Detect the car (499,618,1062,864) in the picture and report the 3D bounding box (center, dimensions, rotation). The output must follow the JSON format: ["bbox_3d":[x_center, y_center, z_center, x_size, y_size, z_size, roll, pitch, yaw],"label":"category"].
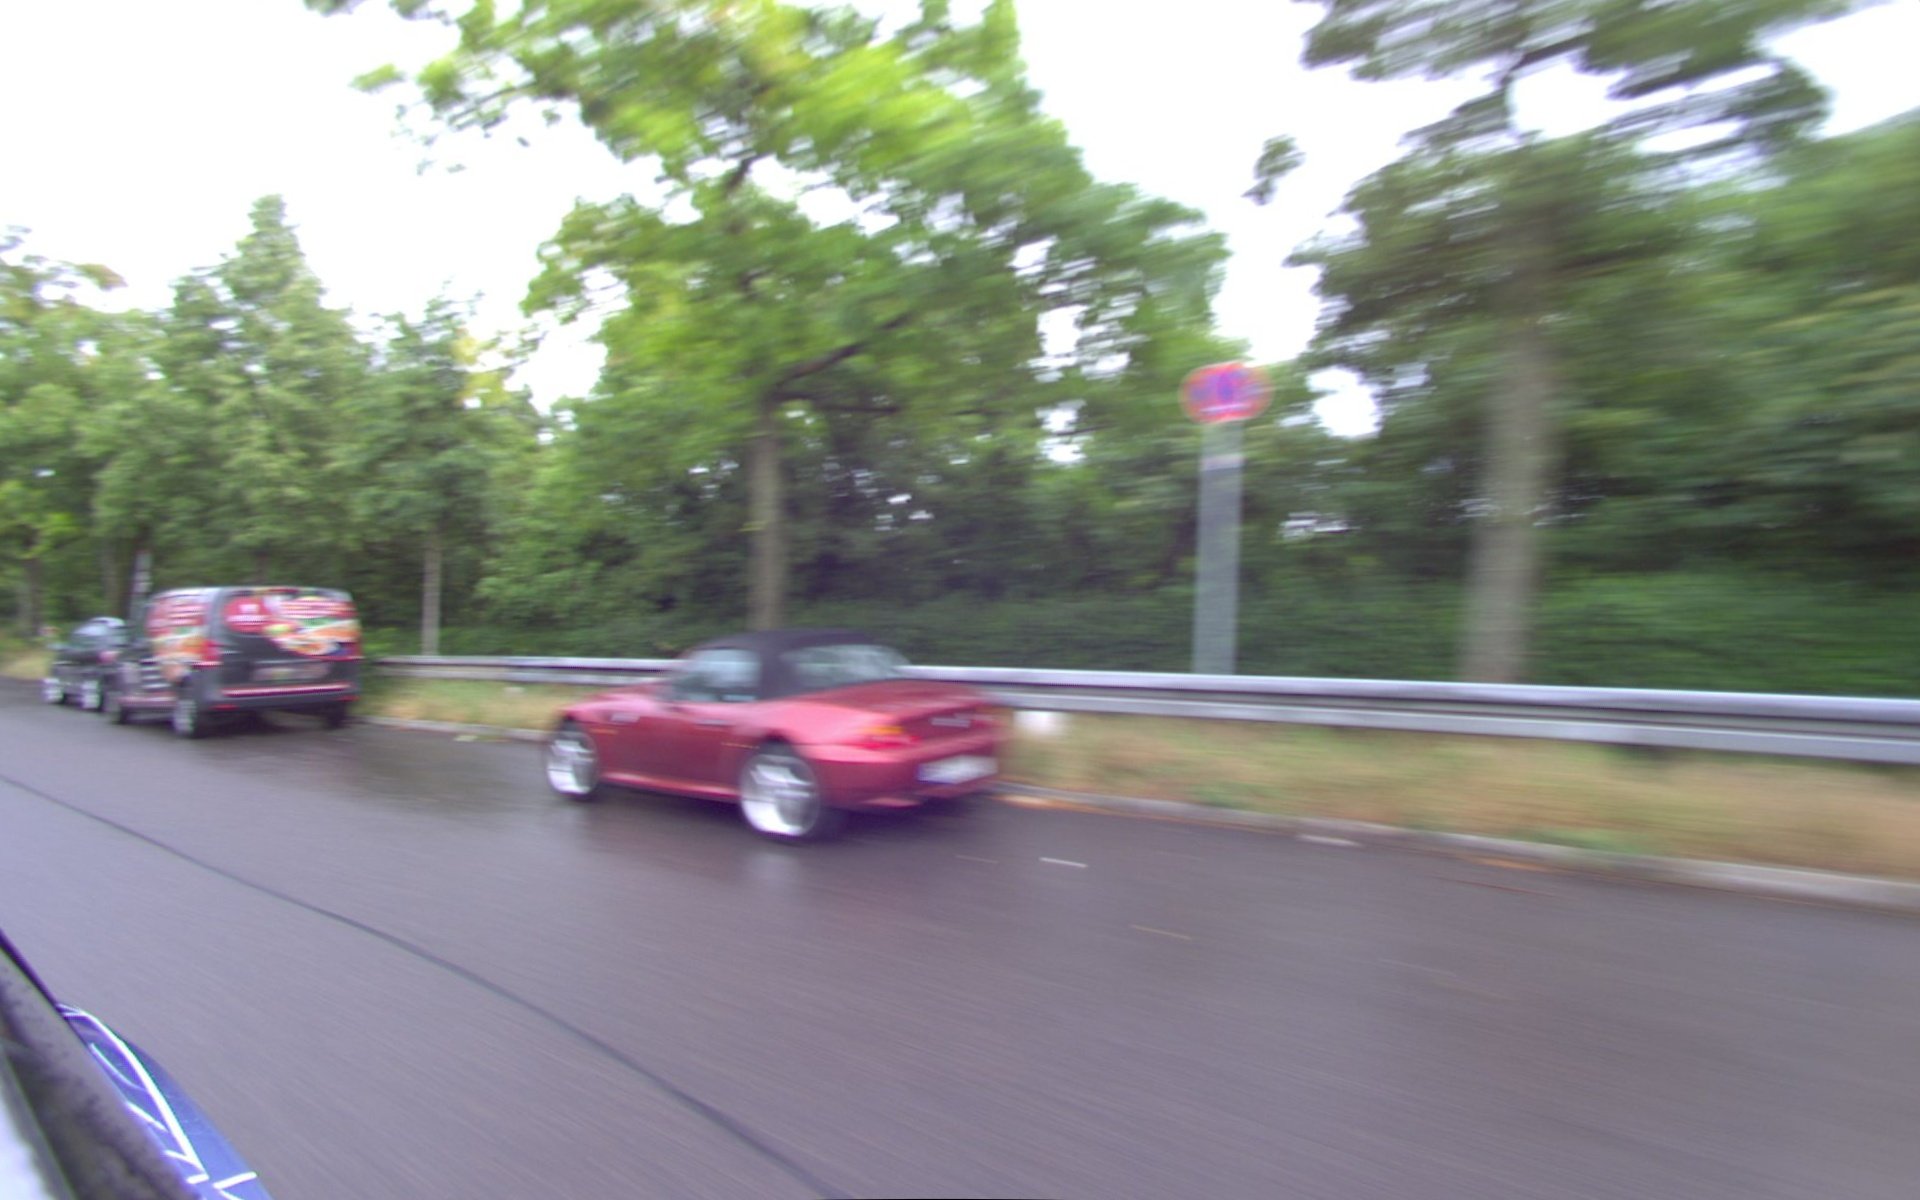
[{"bbox_3d":[-1.529,0.797,7.528,4.321,1.307,1.771,-1,-1,40],"label":"car"}]

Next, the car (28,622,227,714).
[{"bbox_3d":[-14.957,1.120,18.116,4.248,1.448,1.781,-1,-1,36],"label":"car"}]

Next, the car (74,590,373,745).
[{"bbox_3d":[-10.619,0.834,14.422,5.373,1.833,2.064,-1,-1,38],"label":"car"}]
